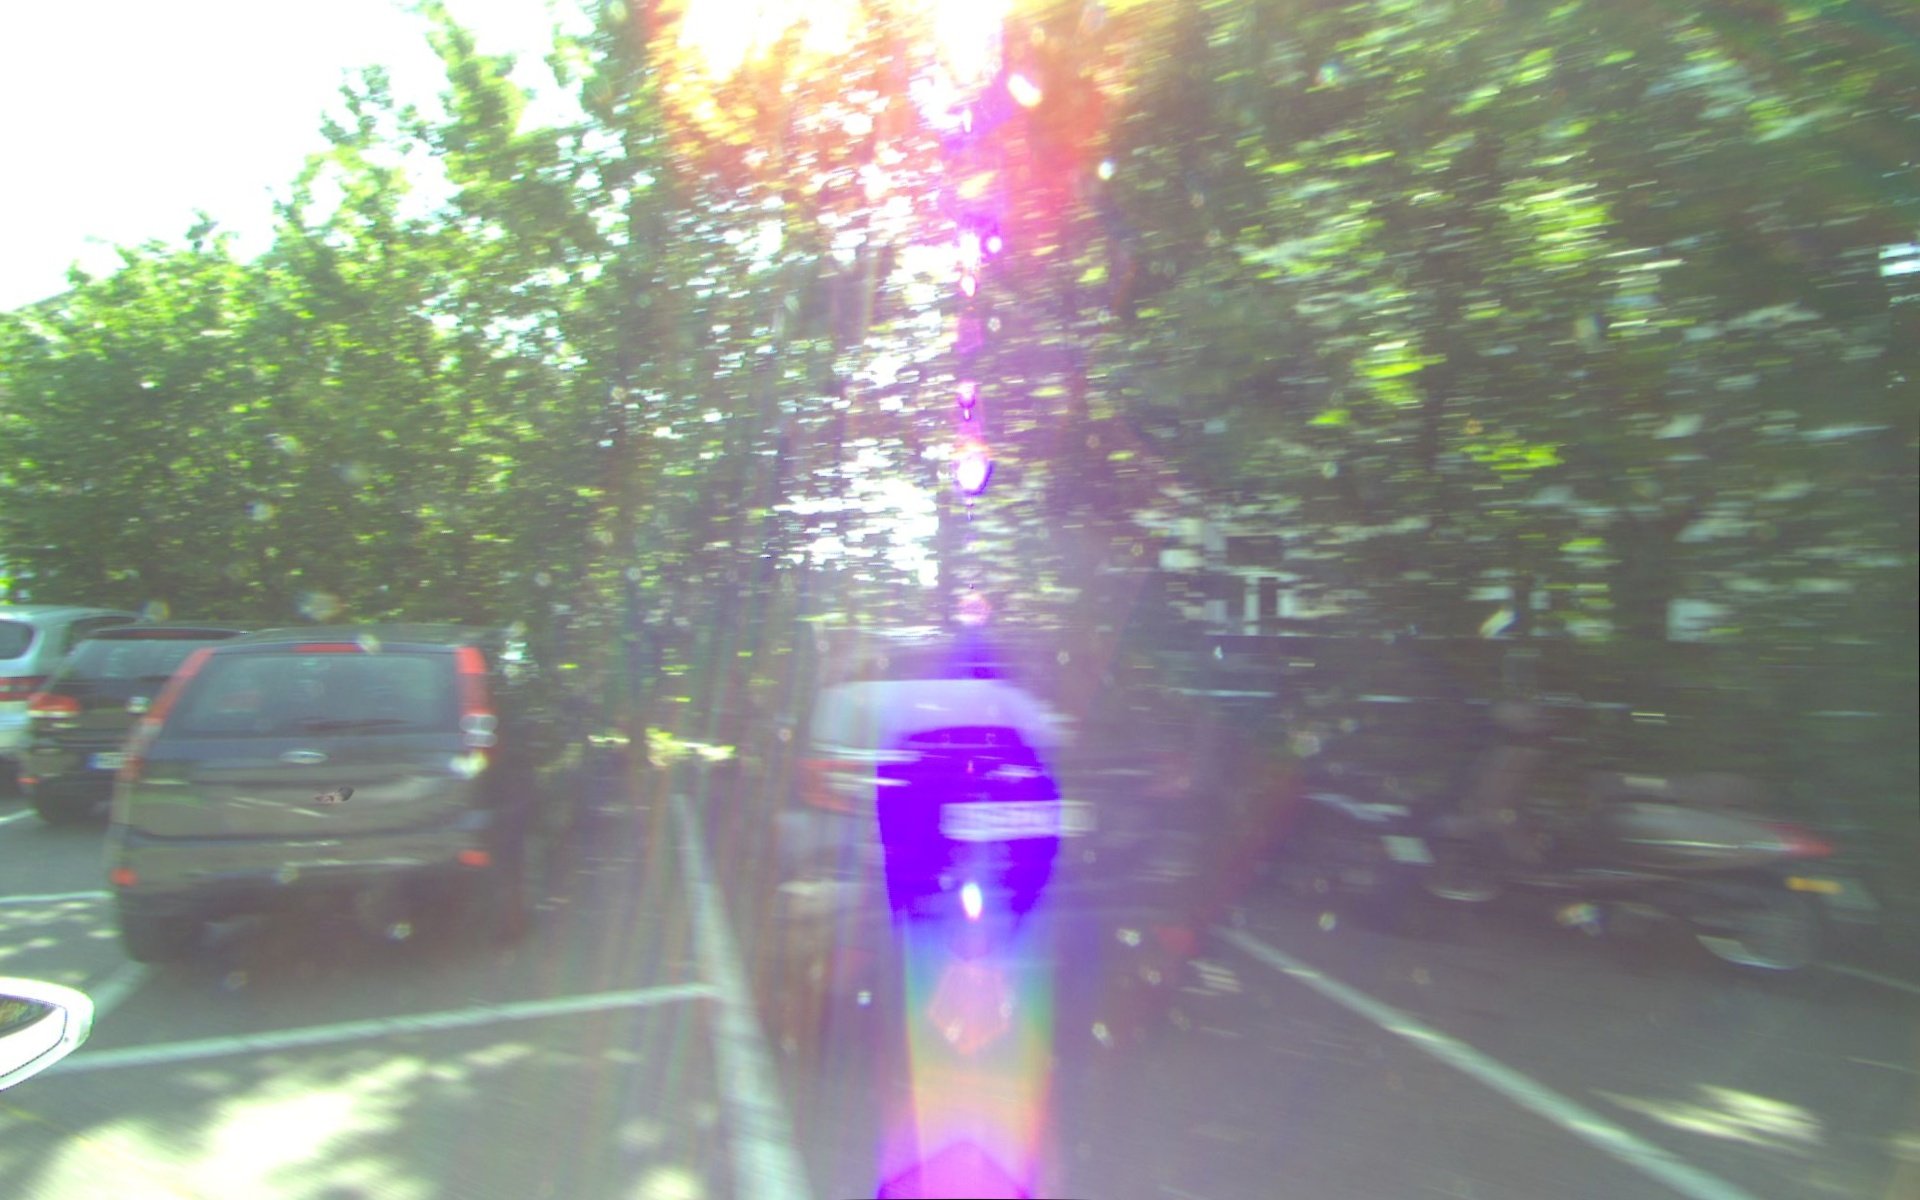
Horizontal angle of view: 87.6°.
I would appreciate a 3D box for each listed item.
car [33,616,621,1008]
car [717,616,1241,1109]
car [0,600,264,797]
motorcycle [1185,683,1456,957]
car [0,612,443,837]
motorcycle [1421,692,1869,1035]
[{"bbox_3d":[-3.103,0.854,5.909,1.673,1.472,3.996,1,-1,-13],"label":"car"},{"bbox_3d":[-0.335,0.842,5.135,1.631,1.489,3.898,1,-1,-16],"label":"car"},{"bbox_3d":[-8.818,0.831,9.905,1.741,1.592,3.997,1,-2,-12],"label":"car"},{"bbox_3d":[1.839,1.064,5.364,0.466,1.155,1.602,1,-2,-19],"label":"motorcycle"},{"bbox_3d":[-6.094,0.872,8.721,1.741,1.489,3.997,1,-1,-11],"label":"car"},{"bbox_3d":[2.985,1.052,4.551,0.562,1.184,1.598,1,-2,-29],"label":"motorcycle"}]
